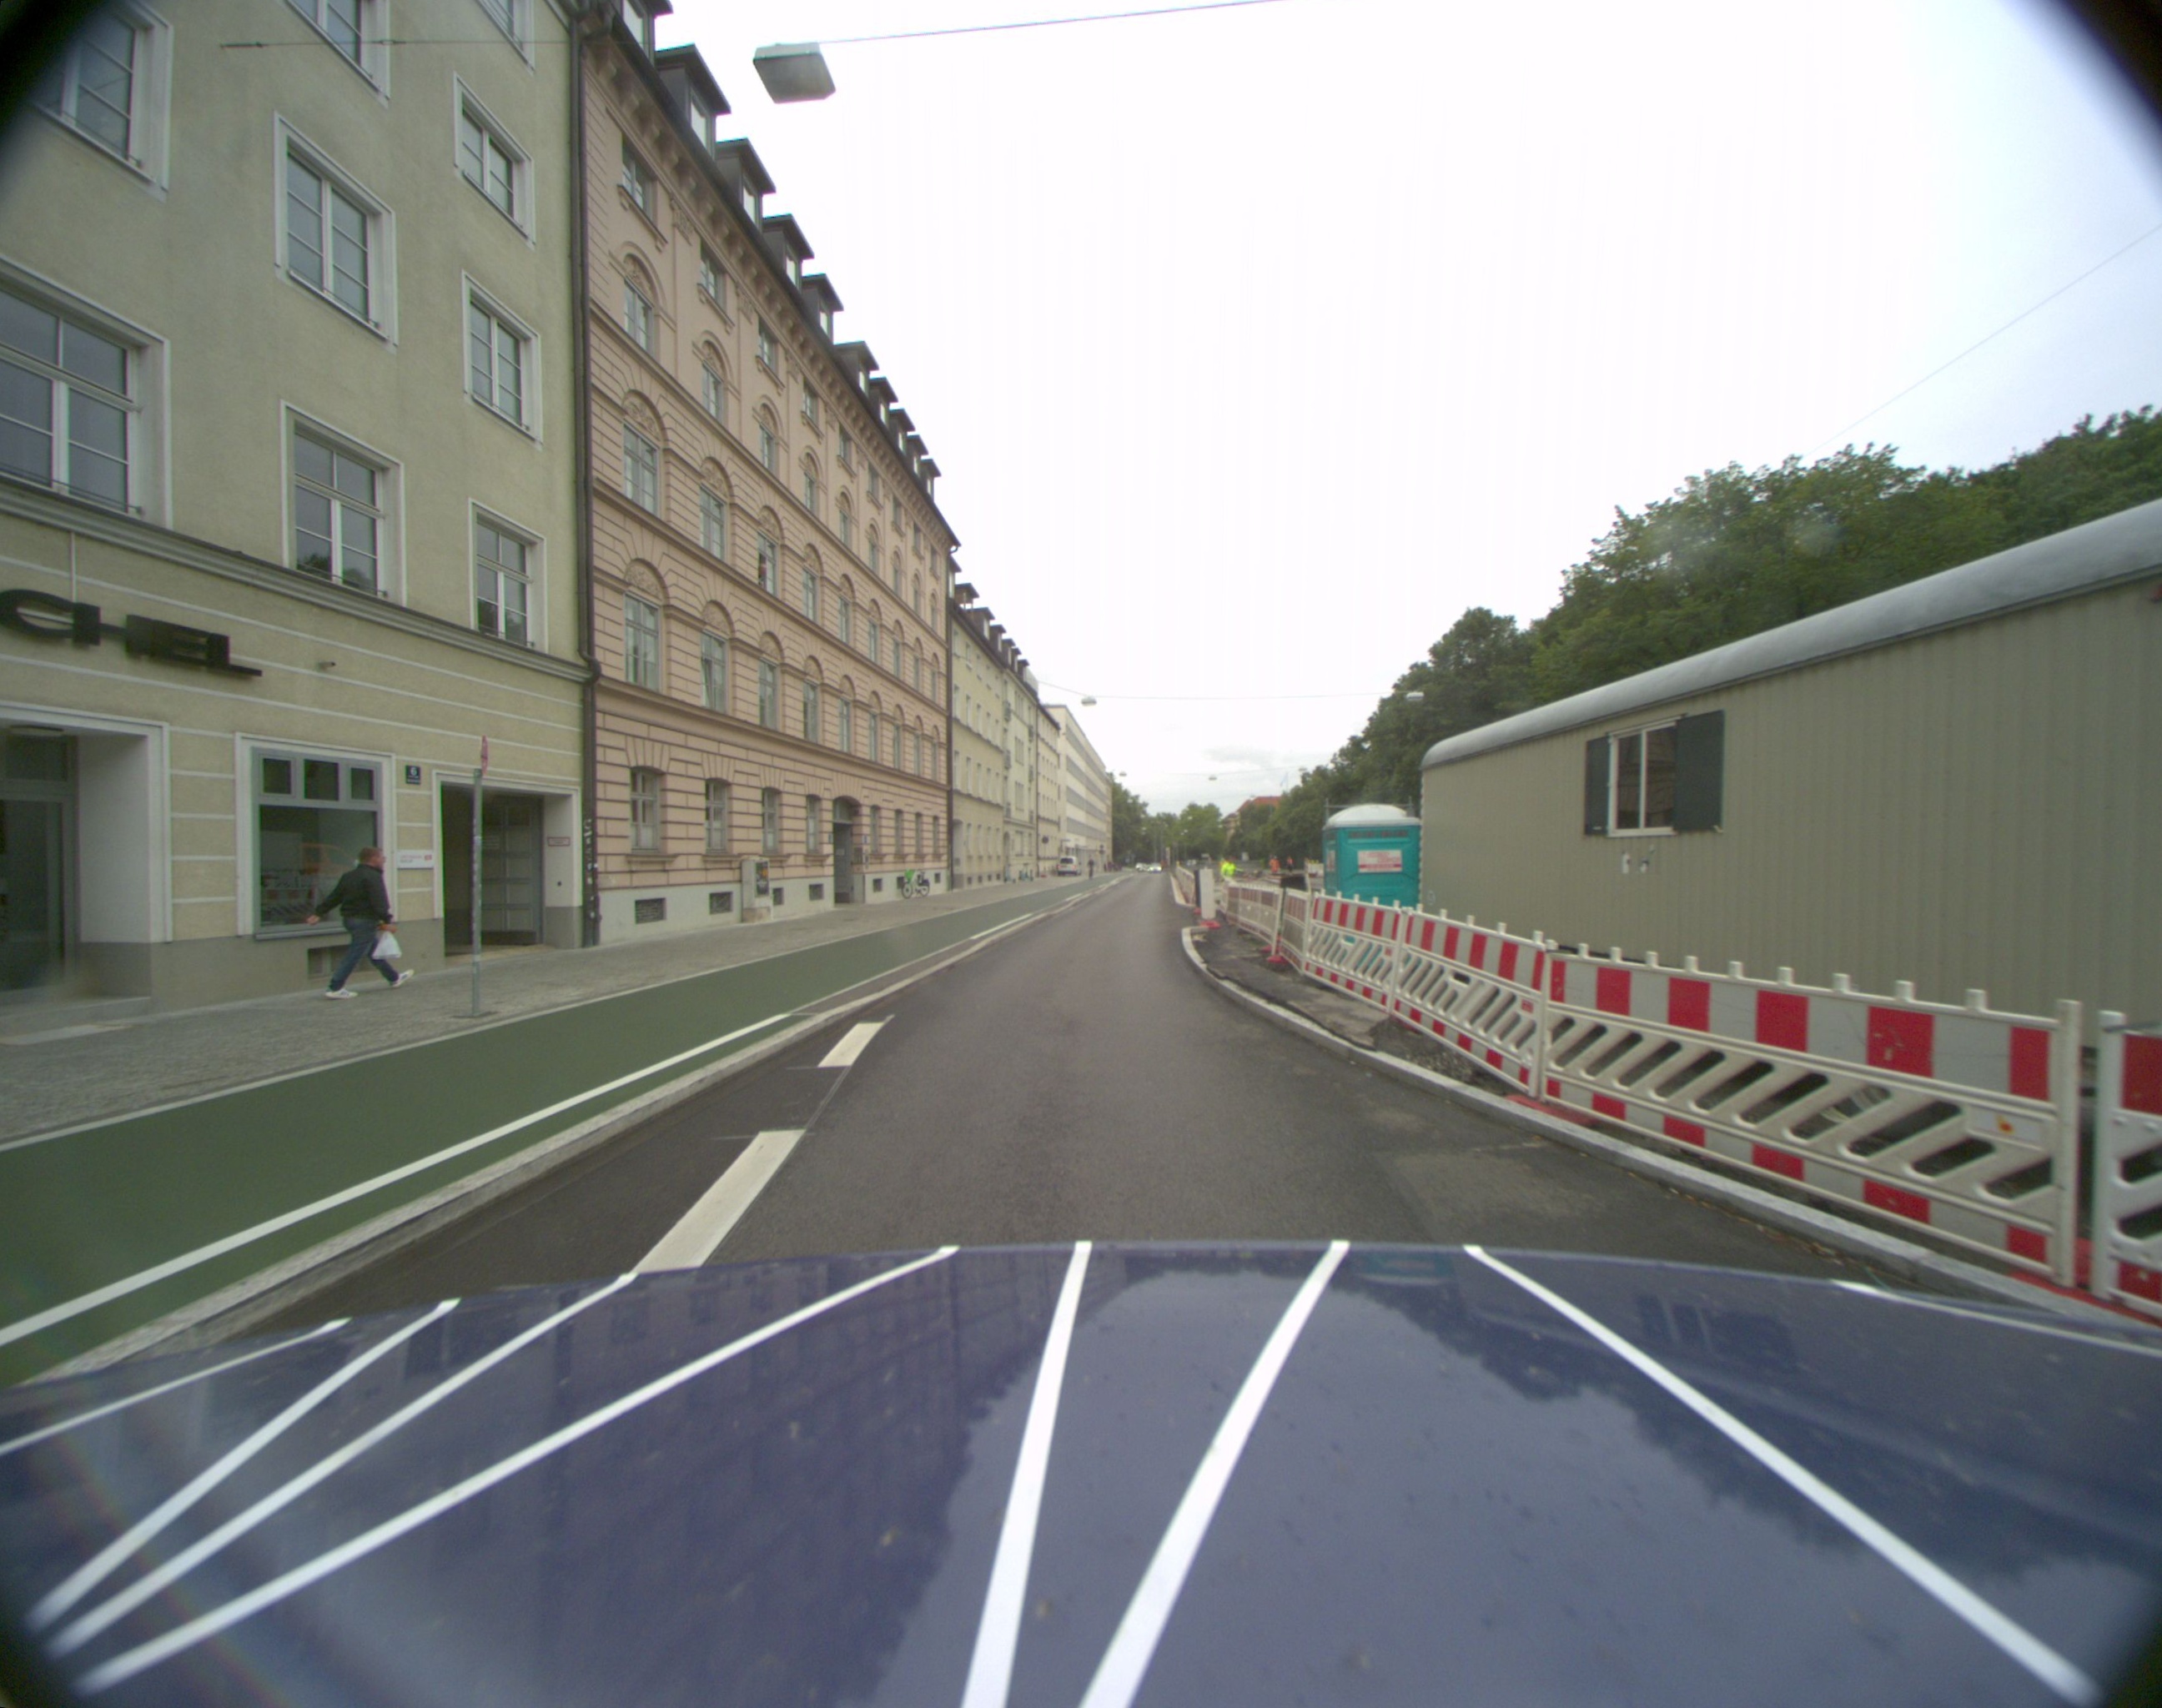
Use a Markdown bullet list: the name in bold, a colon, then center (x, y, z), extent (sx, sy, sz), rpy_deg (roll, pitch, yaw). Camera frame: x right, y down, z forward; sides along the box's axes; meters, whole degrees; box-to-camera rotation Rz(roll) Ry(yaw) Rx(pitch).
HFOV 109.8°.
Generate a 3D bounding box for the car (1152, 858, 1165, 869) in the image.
- **car**: center (11.485, 1.397, 112.884), extent (1.758, 1.461, 4.001), rpy_deg (-2, 0, 4)

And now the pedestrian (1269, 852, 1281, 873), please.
- **pedestrian**: center (16.119, 0.702, 63.051), extent (0.899, 1.678, 0.912), rpy_deg (0, 0, 9)

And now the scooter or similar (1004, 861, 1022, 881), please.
- **scooter or similar**: center (-4.374, 1.094, 48.706), extent (0.552, 1.238, 1.079), rpy_deg (0, 1, 41)

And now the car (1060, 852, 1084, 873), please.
- **car**: center (-0.798, 0.755, 70.658), extent (1.765, 1.821, 4.002), rpy_deg (-1, 0, 6)

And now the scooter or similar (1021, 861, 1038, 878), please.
- **scooter or similar**: center (-3.638, 1.115, 53.495), extent (1.078, 1.185, 0.453), rpy_deg (0, 1, -23)

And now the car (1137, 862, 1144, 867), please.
- **car**: center (18.102, 3.204, 232.097), extent (1.998, 1.560, 4.002), rpy_deg (-1, 0, 6)

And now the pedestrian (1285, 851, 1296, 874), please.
- **pedestrian**: center (17.452, 0.697, 63.165), extent (0.666, 1.959, 0.807), rpy_deg (0, 1, 32)

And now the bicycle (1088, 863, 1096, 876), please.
- **bicycle**: center (0.917, 1.261, 62.205), extent (0.632, 1.031, 2.018), rpy_deg (0, 0, 0)

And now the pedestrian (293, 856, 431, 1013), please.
- **pedestrian**: center (-8.389, 0.899, 8.901), extent (0.795, 1.735, 0.834), rpy_deg (0, 0, 7)

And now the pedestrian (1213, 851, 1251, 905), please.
- **pedestrian**: center (5.297, 0.822, 26.659), extent (0.989, 1.793, 0.817), rpy_deg (3, 3, 38)

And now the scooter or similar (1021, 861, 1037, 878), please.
- **scooter or similar**: center (-3.759, 1.131, 54.852), extent (1.079, 1.185, 0.436), rpy_deg (0, 1, -33)

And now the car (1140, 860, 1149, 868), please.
- **car**: center (16.086, 2.511, 192.568), extent (1.998, 2.002, 4.001), rpy_deg (-2, 0, 4)

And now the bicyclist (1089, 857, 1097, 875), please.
- **bicyclist**: center (0.986, 0.964, 62.220), extent (0.632, 1.459, 0.653), rpy_deg (0, 0, 0)

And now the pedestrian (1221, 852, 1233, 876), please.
- **pedestrian**: center (10.938, 0.734, 56.733), extent (0.859, 1.826, 0.876), rpy_deg (0, 0, 12)

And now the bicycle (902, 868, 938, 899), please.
- **bicycle**: center (-6.409, 1.148, 30.281), extent (0.556, 1.170, 1.728), rpy_deg (0, 0, 21)
